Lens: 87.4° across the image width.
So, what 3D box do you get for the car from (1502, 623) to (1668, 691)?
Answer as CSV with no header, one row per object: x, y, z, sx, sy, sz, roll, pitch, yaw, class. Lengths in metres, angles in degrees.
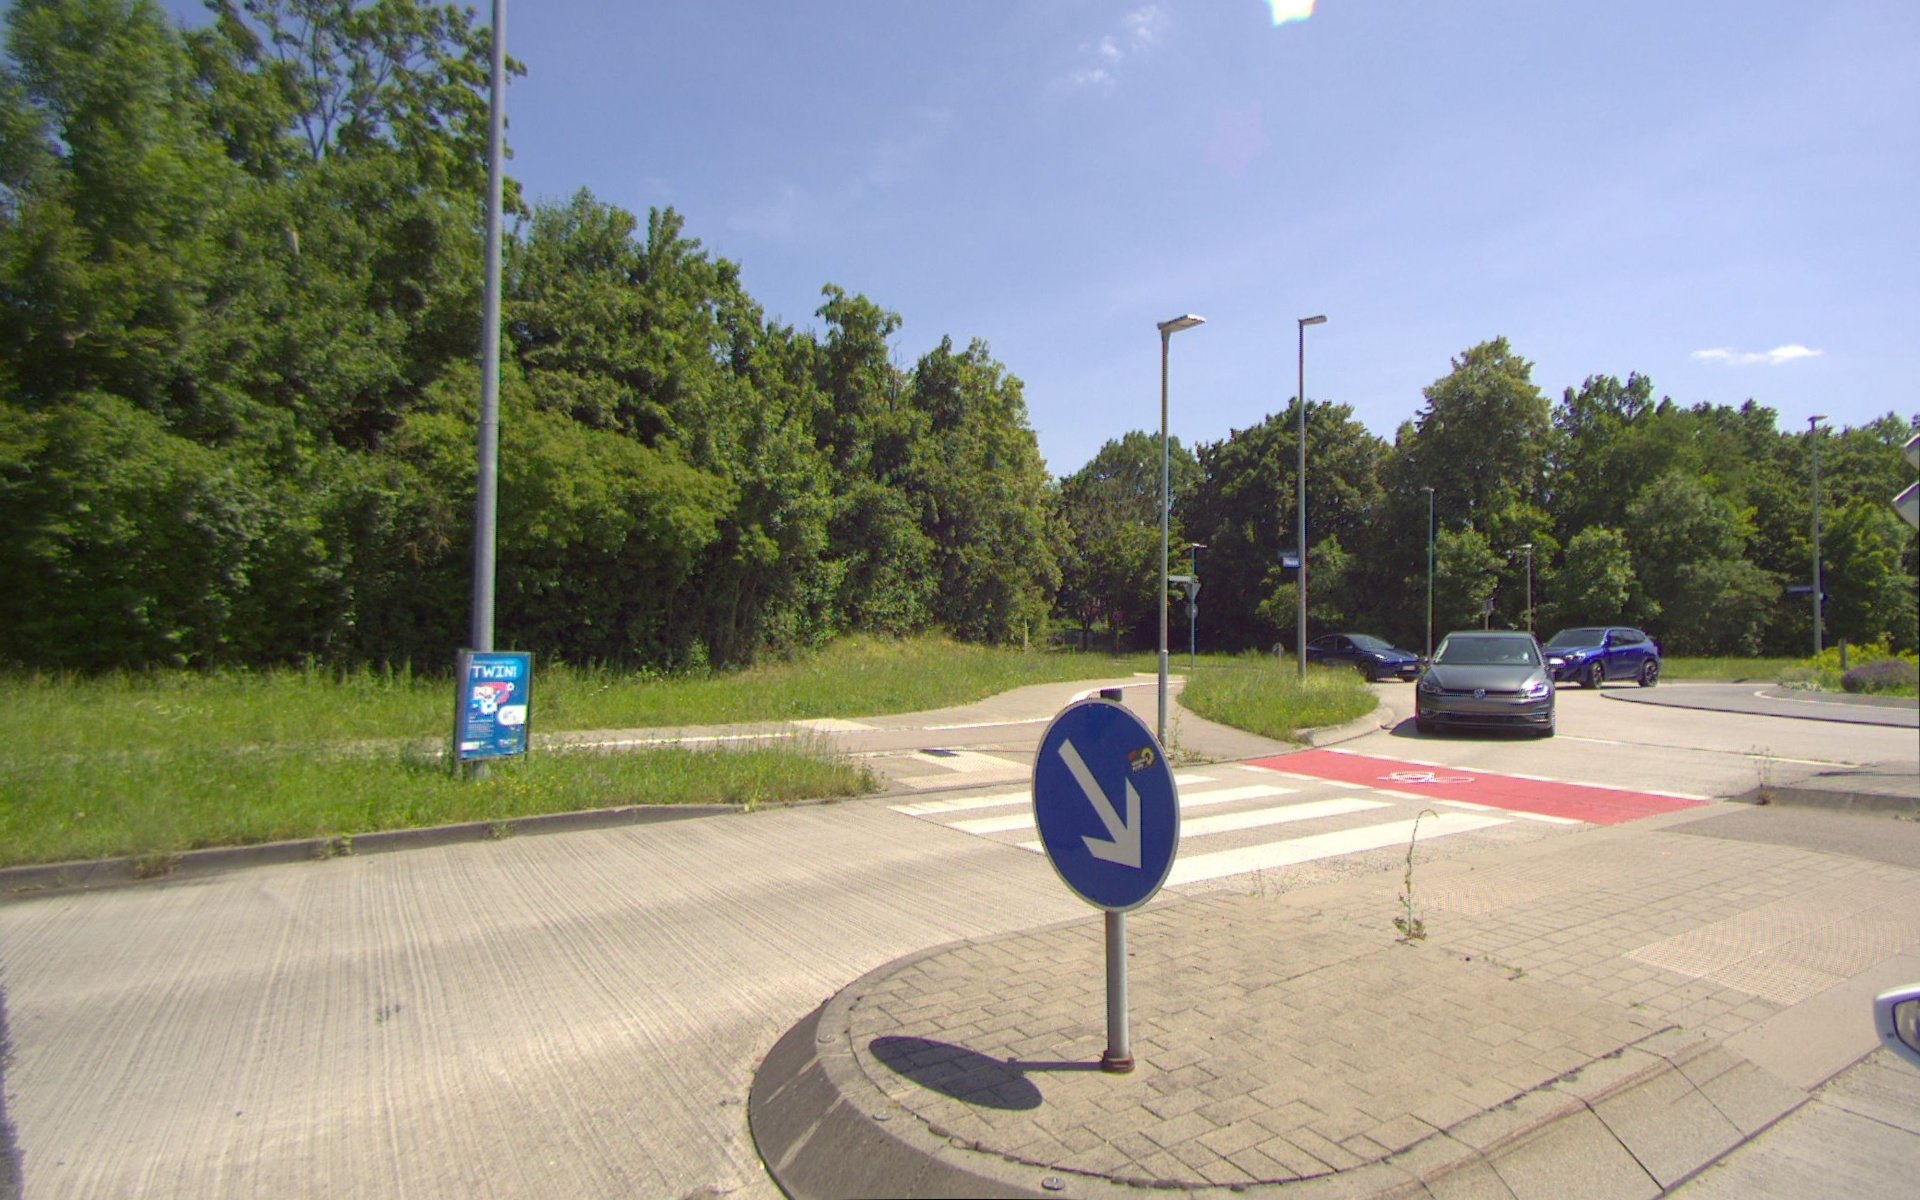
16.826,1.486,27.021,4.270,1.617,1.985,0,-2,-30,car

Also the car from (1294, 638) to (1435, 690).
13.632,2.133,34.158,1.930,1.514,4.541,2,-1,-20,car

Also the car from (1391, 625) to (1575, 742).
8.019,1.172,15.194,1.967,1.498,4.276,-2,-3,34,car
